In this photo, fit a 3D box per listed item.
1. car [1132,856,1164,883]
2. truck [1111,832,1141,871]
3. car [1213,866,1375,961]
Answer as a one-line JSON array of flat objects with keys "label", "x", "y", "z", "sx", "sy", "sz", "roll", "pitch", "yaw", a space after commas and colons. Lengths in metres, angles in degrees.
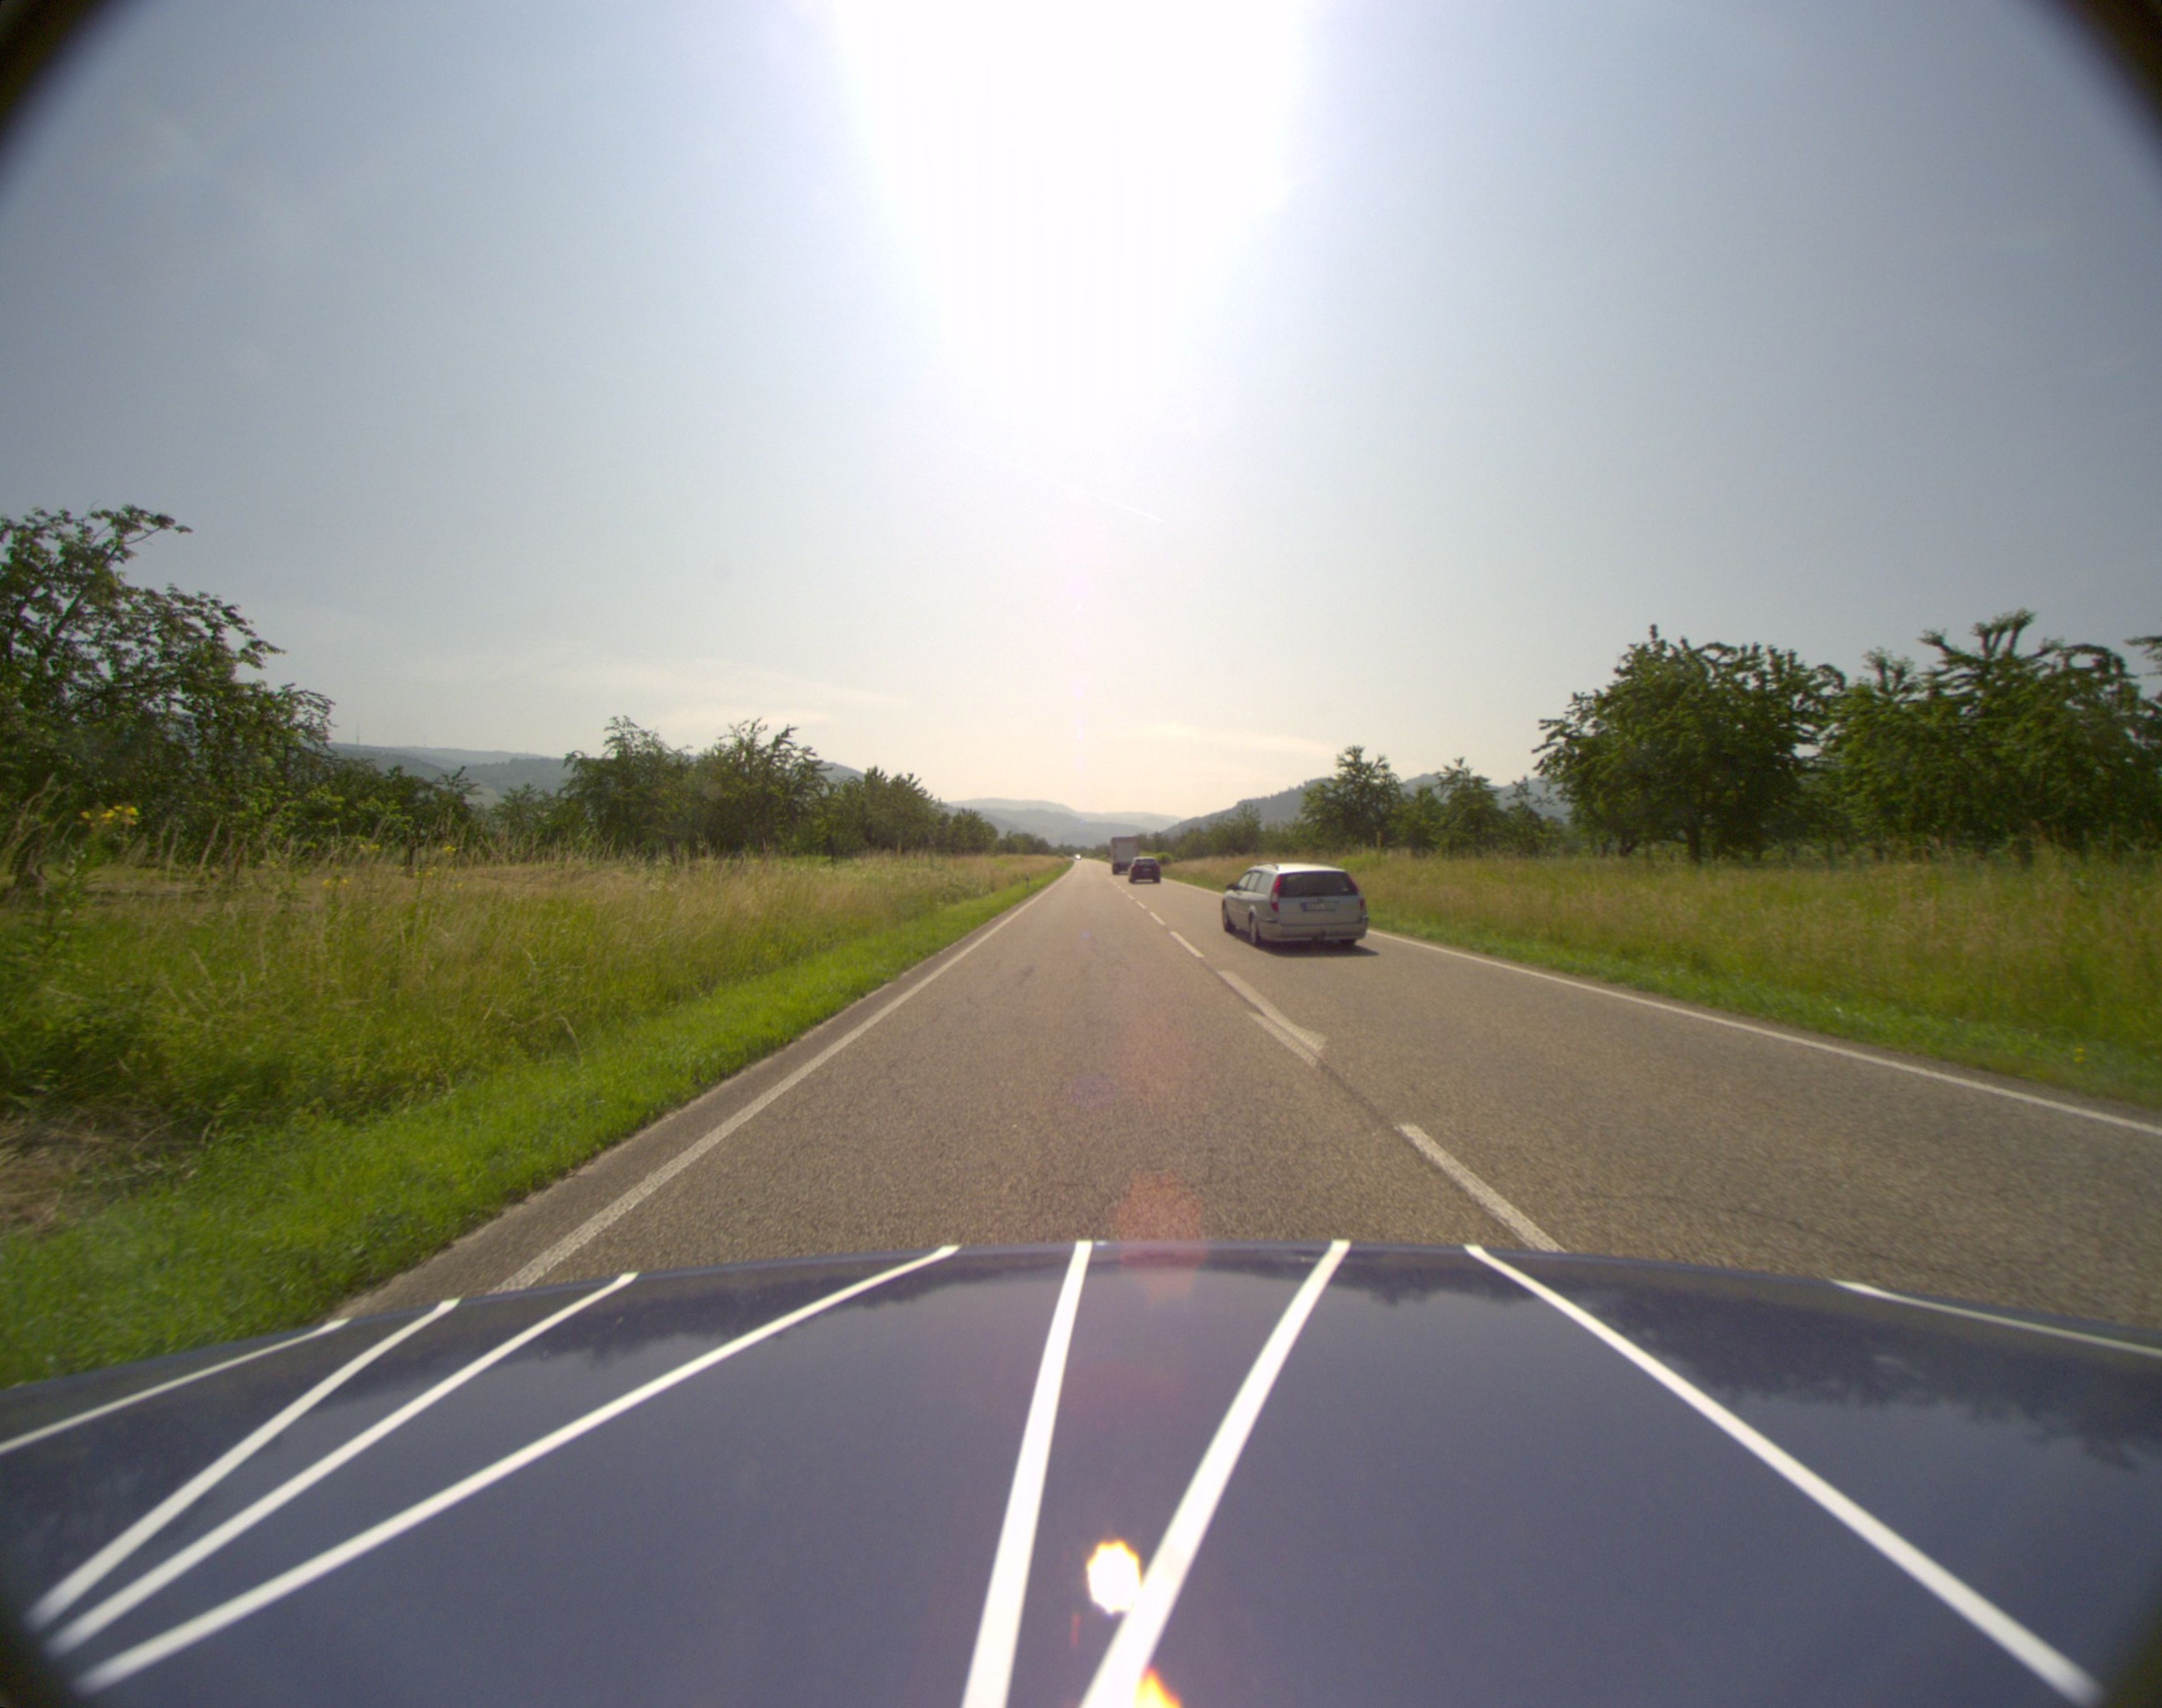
[{"label": "car", "x": 4.370, "y": 0.985, "z": 49.911, "sx": 1.840, "sy": 1.668, "sz": 4.411, "roll": -1, "pitch": 0, "yaw": 2}, {"label": "truck", "x": 4.729, "y": -0.256, "z": 81.326, "sx": 2.671, "sy": 3.816, "sz": 10.208, "roll": -1, "pitch": 0, "yaw": 0}, {"label": "car", "x": 3.765, "y": 0.970, "z": 14.350, "sx": 1.694, "sy": 1.400, "sz": 4.894, "roll": -1, "pitch": 0, "yaw": 0}]
